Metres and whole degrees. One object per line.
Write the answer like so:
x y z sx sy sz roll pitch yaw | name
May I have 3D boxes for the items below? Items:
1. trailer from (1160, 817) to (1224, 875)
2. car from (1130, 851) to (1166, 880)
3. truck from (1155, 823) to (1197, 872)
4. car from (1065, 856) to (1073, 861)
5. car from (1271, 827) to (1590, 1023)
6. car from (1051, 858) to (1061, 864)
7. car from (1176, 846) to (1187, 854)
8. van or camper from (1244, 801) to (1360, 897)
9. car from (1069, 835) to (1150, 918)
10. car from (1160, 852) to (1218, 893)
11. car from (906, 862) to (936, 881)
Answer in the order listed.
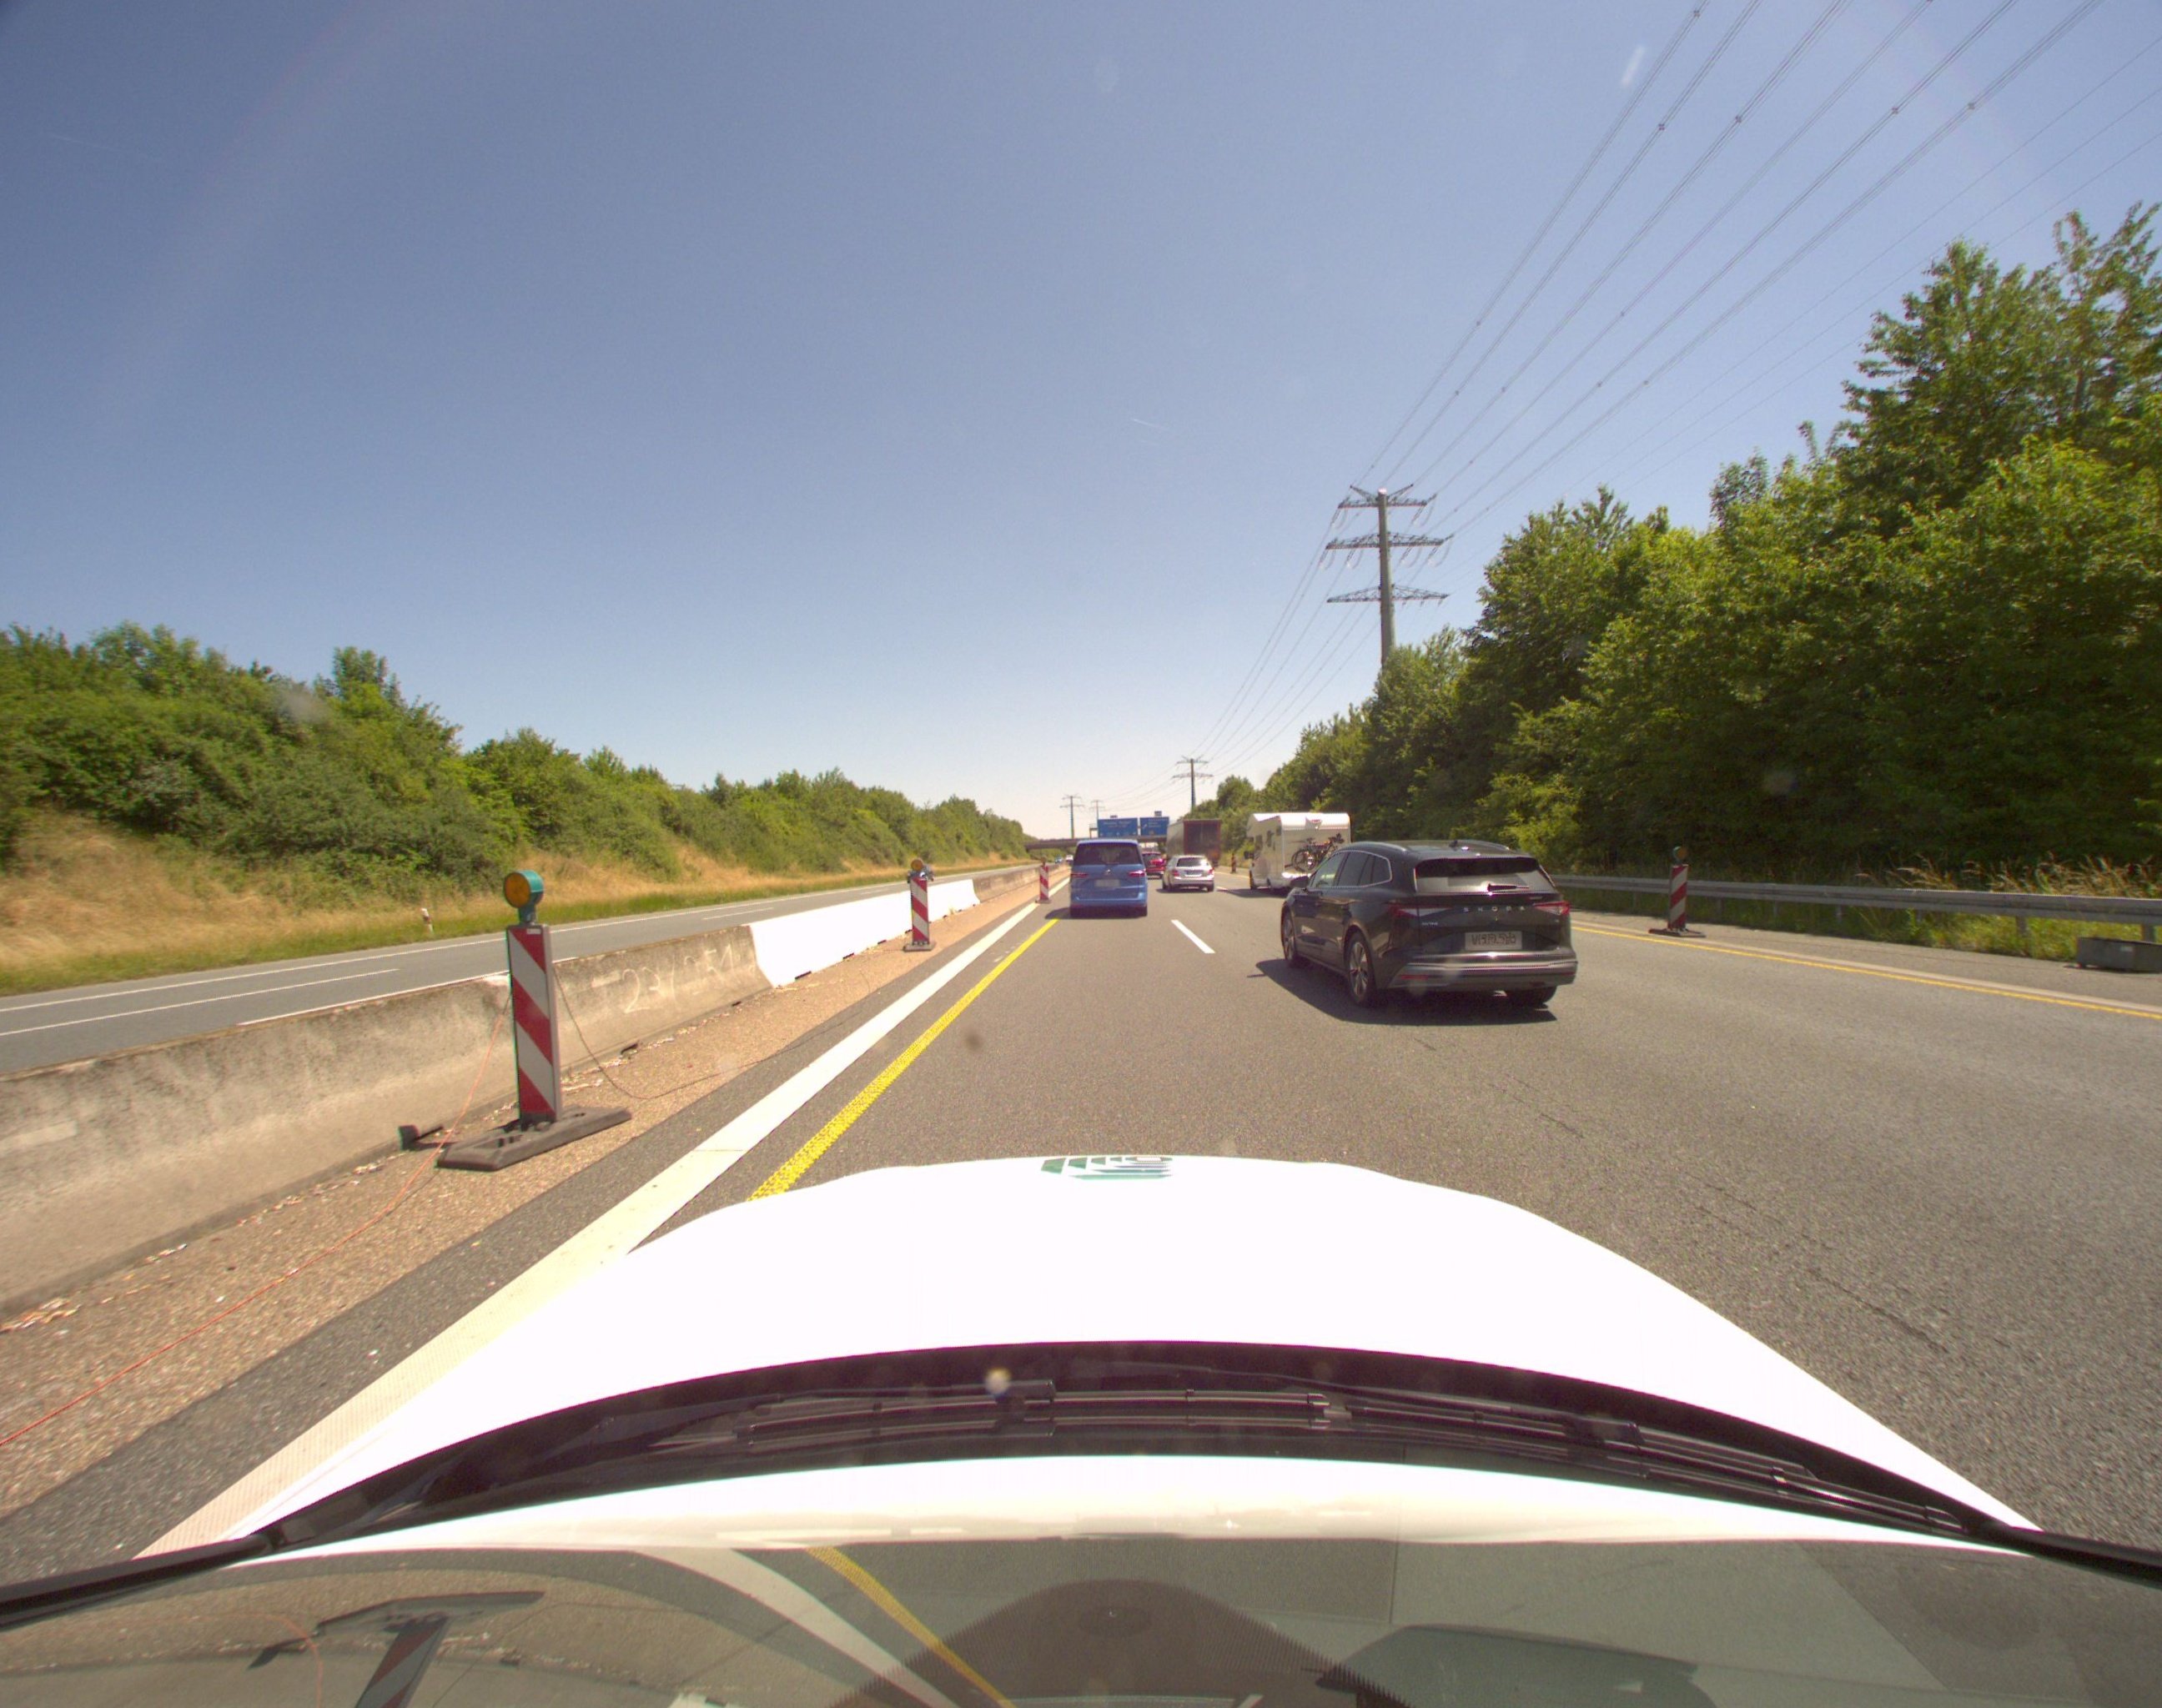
8.377 -0.575 63.548 2.776 4.047 13.101 0 0 -2 | trailer
4.031 0.691 49.702 1.868 1.671 4.359 0 0 0 | car
8.141 -0.566 70.478 2.726 4.047 5.788 0 0 -2 | truck
-3.379 1.302 234.118 1.985 1.398 4.003 -3 0 3 | car
3.479 0.609 9.128 1.695 1.655 4.429 0 0 0 | car
-5.872 1.714 194.605 1.985 1.398 4.003 -3 0 3 | car
21.468 -0.939 173.929 1.868 1.671 4.359 0 0 0 | car
7.769 -0.145 29.658 2.360 3.043 7.635 0 0 2 | van or camper
0.668 0.529 21.009 1.868 1.912 4.359 0 0 0 | car
4.280 0.701 32.873 1.765 1.517 4.359 0 0 0 | car
-13.490 1.456 68.926 1.703 1.464 3.849 -3 0 0 | car
